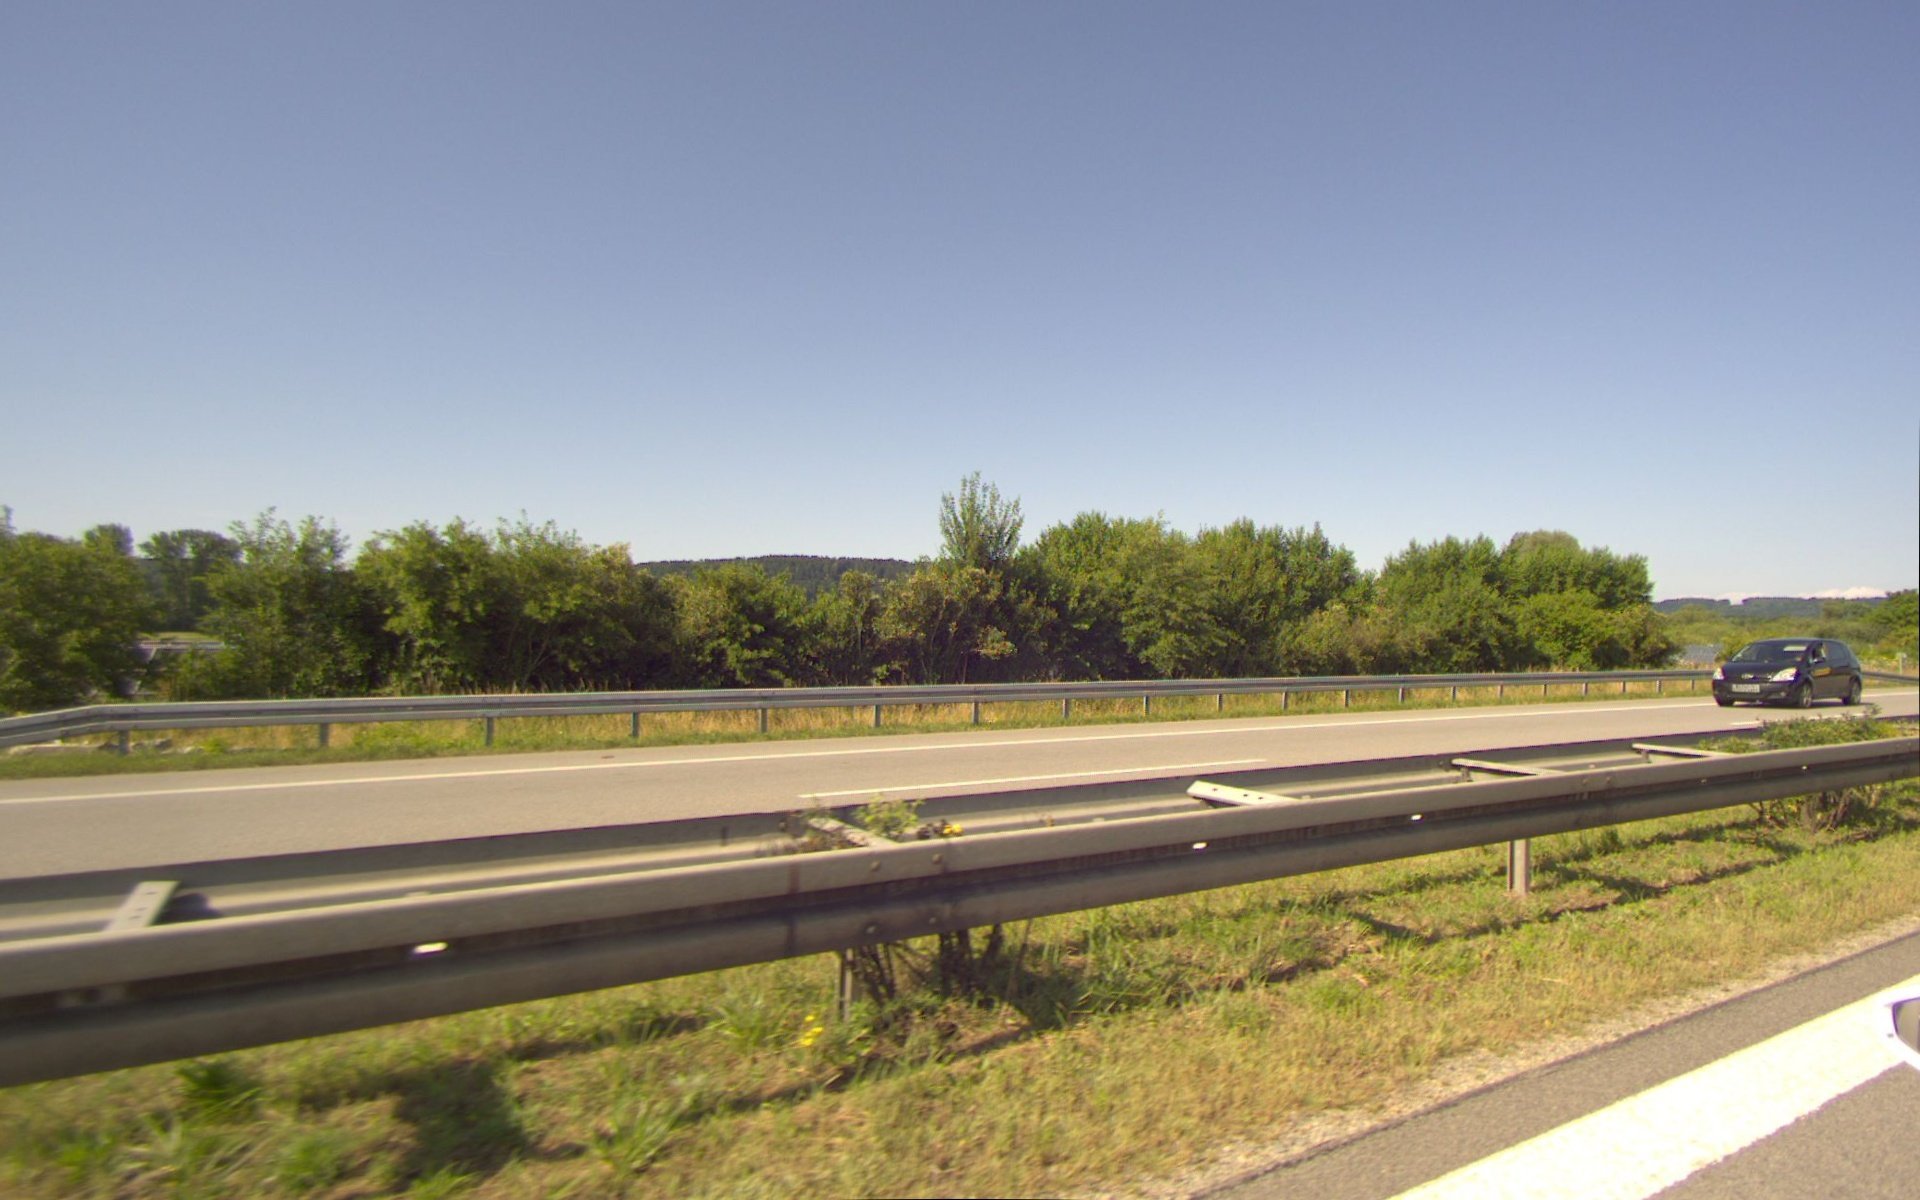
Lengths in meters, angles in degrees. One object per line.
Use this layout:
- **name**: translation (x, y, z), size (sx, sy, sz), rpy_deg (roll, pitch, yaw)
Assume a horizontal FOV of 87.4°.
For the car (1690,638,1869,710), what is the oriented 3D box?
- **car**: translation (19.793, 1.743, 24.234), size (4.601, 1.592, 1.822), rpy_deg (2, -3, -30)
